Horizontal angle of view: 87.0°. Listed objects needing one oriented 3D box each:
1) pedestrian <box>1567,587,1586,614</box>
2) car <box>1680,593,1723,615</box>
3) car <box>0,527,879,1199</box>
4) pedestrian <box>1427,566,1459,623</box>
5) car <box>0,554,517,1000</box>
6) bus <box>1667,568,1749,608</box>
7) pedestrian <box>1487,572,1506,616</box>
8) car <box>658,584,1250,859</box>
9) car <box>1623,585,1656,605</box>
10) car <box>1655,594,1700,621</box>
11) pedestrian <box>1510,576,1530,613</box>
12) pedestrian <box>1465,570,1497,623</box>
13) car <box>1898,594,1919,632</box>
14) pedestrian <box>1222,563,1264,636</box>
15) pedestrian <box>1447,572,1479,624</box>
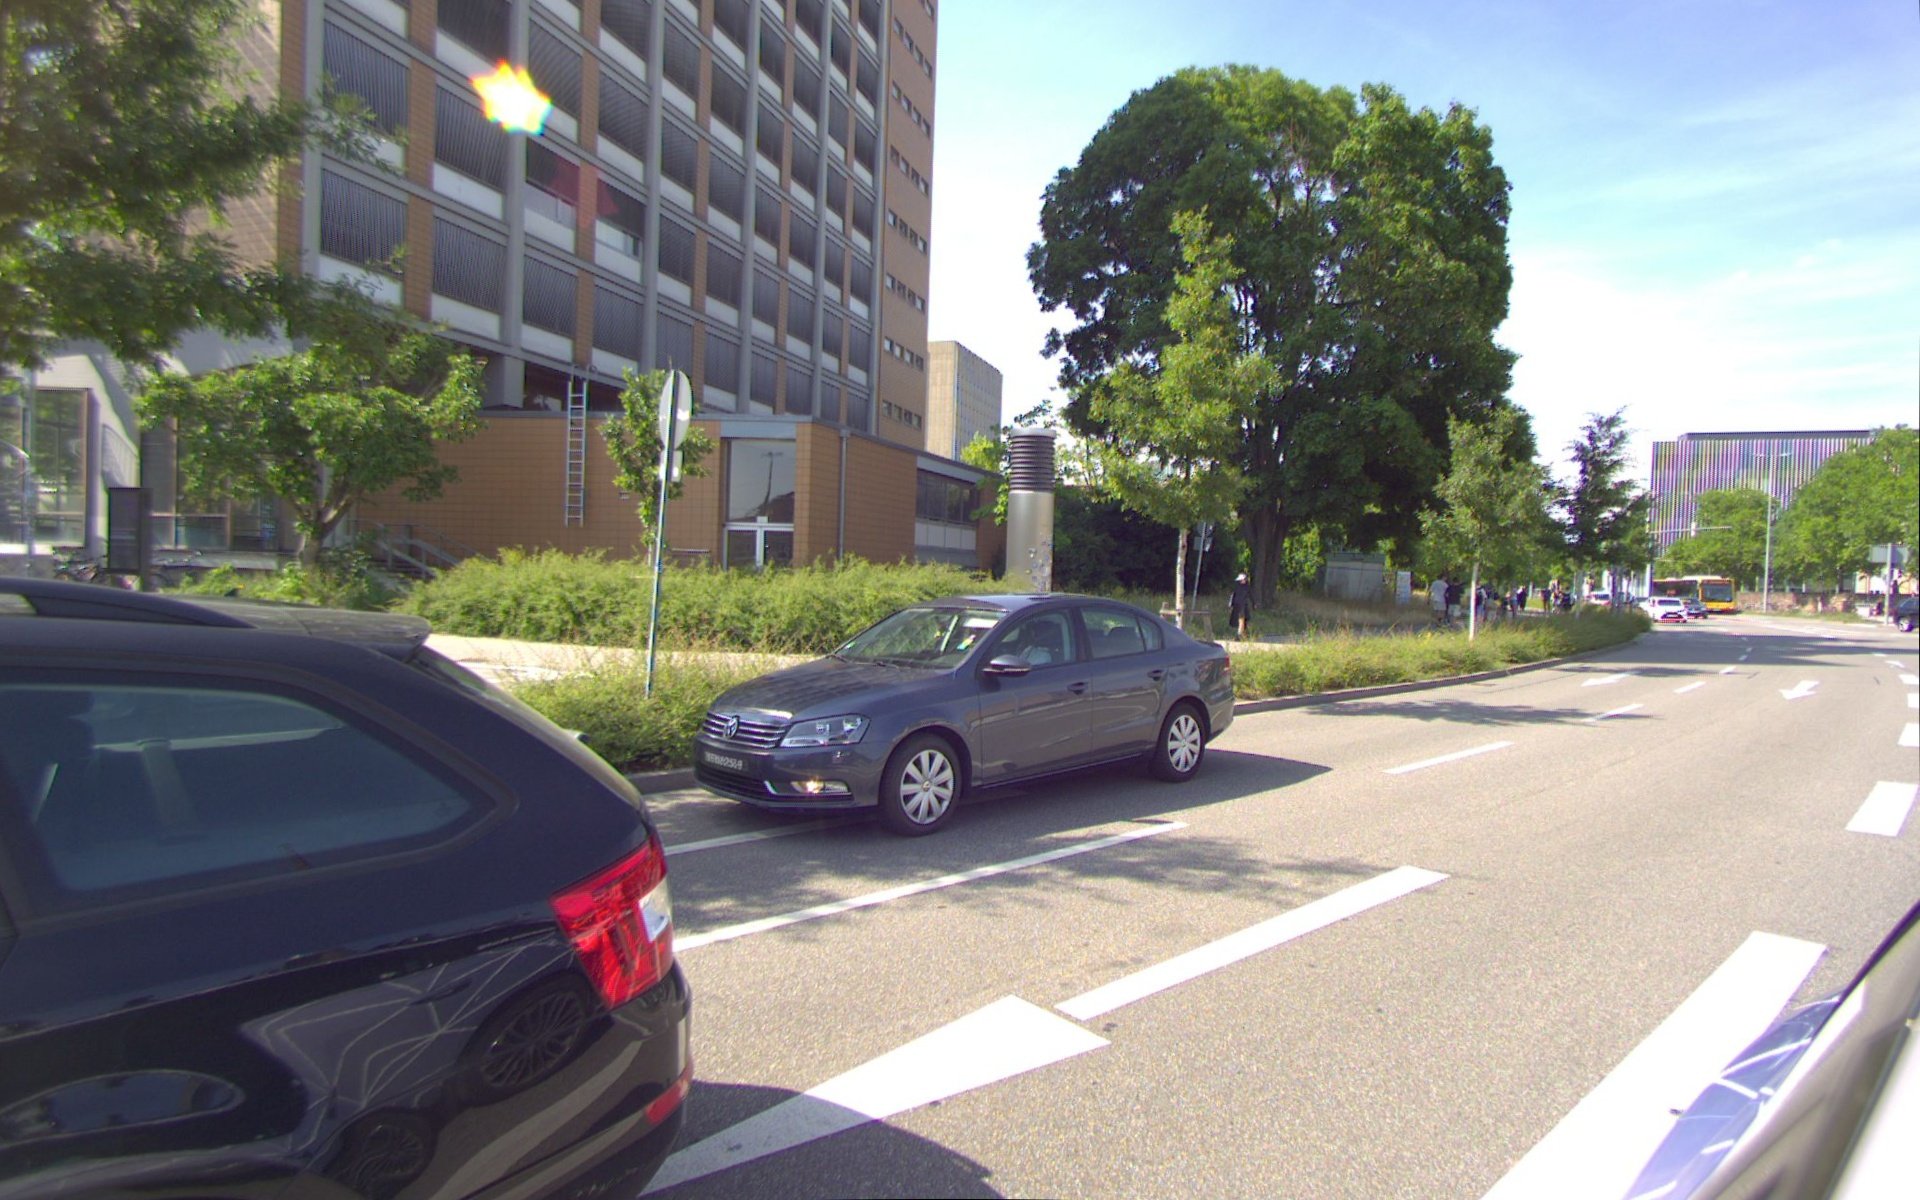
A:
[{"bbox_3d":[27.540,0.034,45.201,0.639,1.145,0.743,4,3,33],"label":"pedestrian"},{"bbox_3d":[50.194,0.267,68.595,1.635,1.442,4.083,0,0,26],"label":"car"},{"bbox_3d":[-2.444,0.637,1.090,4.698,1.453,1.633,-1,1,-42],"label":"car"},{"bbox_3d":[16.174,-0.187,33.886,0.719,1.860,0.643,0,3,-41],"label":"pedestrian"},{"bbox_3d":[-4.084,0.561,3.555,4.322,1.447,1.702,1,0,-42],"label":"car"},{"bbox_3d":[62.989,-0.999,85.600,2.766,3.076,12.053,2,1,23],"label":"bus"},{"bbox_3d":[22.349,-0.244,42.165,0.638,1.785,0.470,3,3,29],"label":"pedestrian"},{"bbox_3d":[0.214,0.615,7.492,4.451,1.453,1.633,-1,1,-42],"label":"car"},{"bbox_3d":[47.758,-0.396,71.206,1.396,1.311,3.549,2,2,26],"label":"car"},{"bbox_3d":[42.235,0.431,59.655,1.667,1.493,3.723,0,0,28],"label":"car"},{"bbox_3d":[23.112,-0.232,41.765,0.638,1.464,0.564,3,3,29],"label":"pedestrian"},{"bbox_3d":[17.051,-0.114,33.122,0.739,1.694,0.643,0,3,-41],"label":"pedestrian"},{"bbox_3d":[45.361,0.613,45.829,1.724,1.751,4.118,0,0,-6],"label":"car"},{"bbox_3d":[6.763,-0.021,24.190,0.719,1.684,0.592,0,3,-41],"label":"pedestrian"},{"bbox_3d":[16.604,-0.080,33.390,0.719,1.646,0.643,0,3,-41],"label":"pedestrian"}]
